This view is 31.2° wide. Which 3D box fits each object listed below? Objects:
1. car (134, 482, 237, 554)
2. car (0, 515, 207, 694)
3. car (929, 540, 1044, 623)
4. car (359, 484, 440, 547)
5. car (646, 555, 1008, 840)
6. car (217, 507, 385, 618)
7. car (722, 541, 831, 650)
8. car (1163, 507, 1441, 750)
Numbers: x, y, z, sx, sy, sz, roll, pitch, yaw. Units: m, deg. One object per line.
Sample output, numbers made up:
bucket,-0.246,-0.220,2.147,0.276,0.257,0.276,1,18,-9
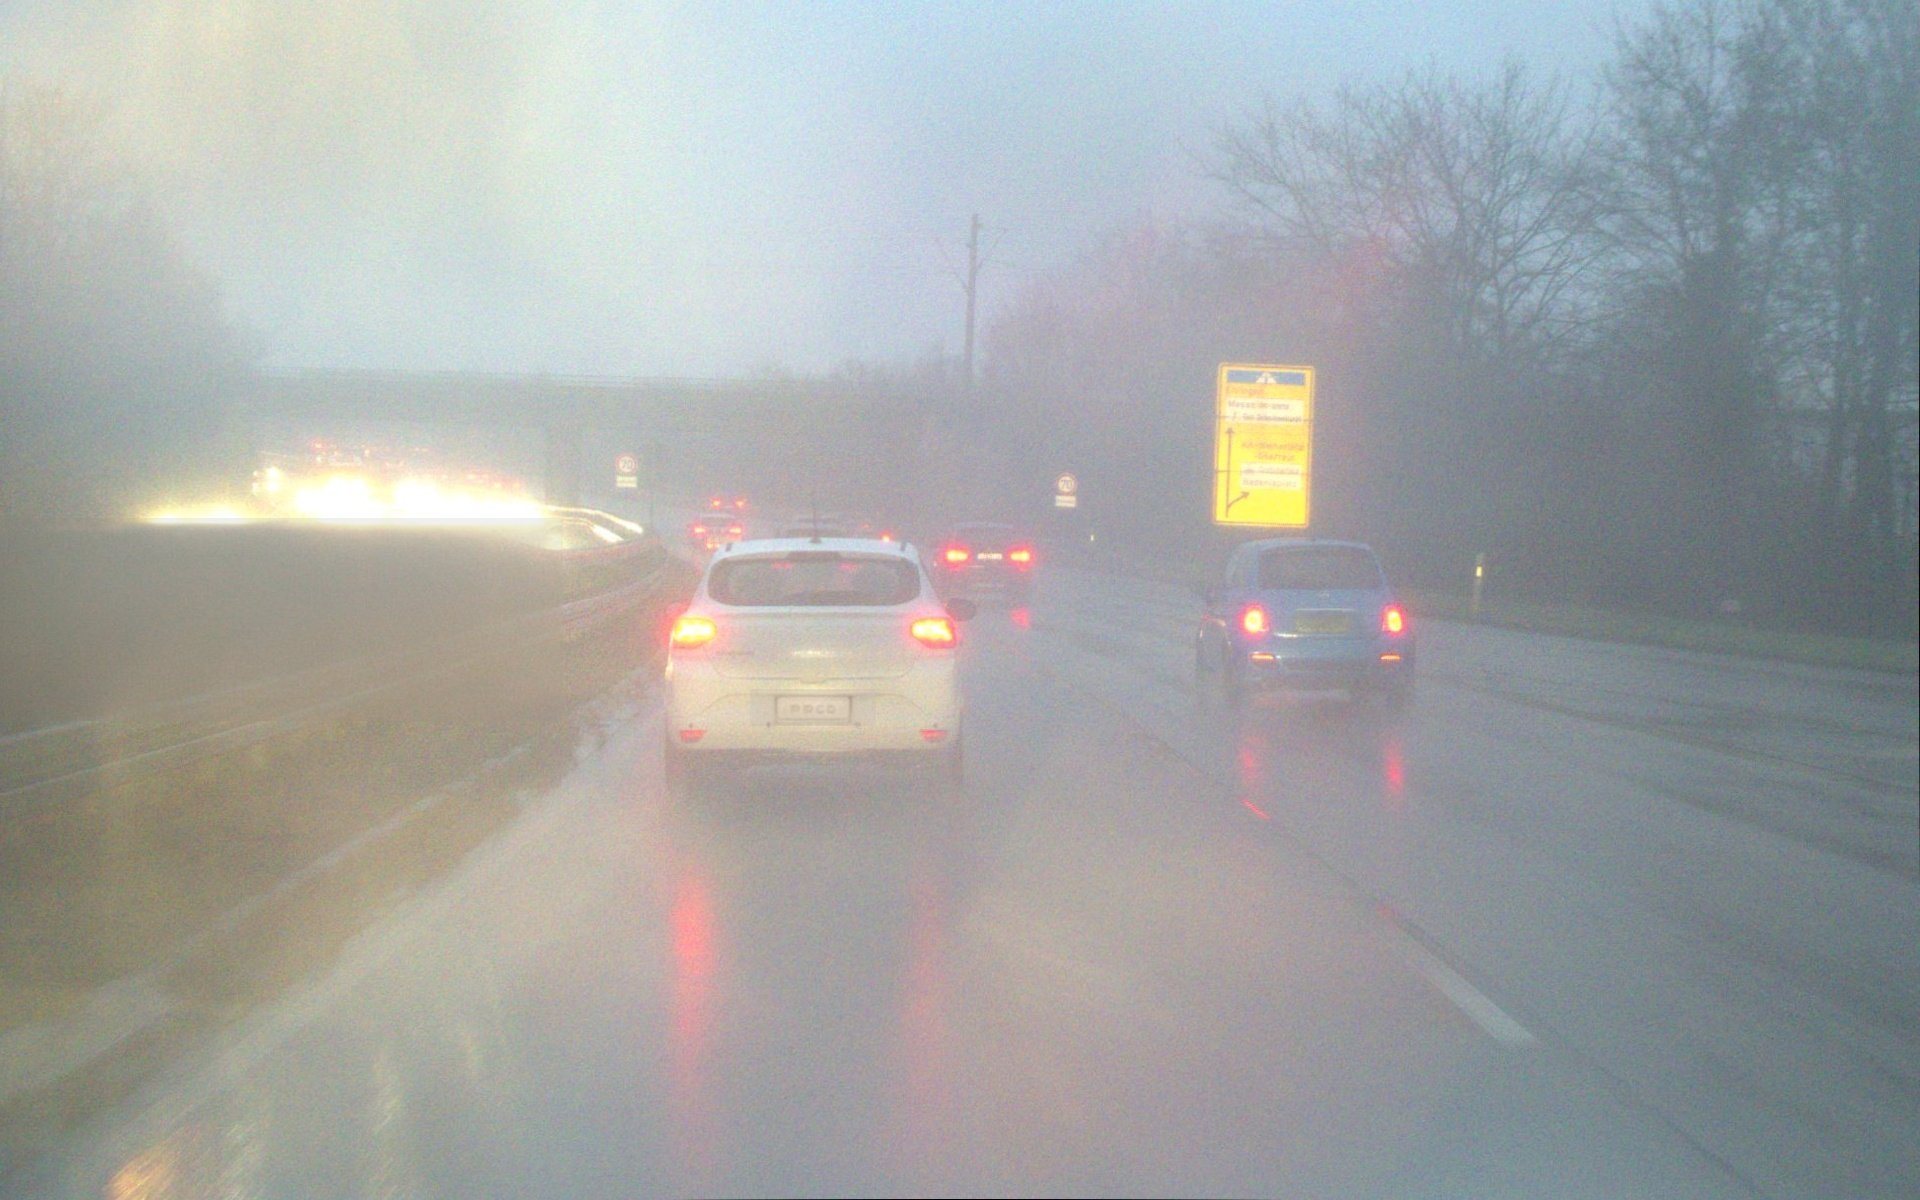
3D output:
car,-20.742,-2.168,92.232,1.880,1.826,4.788,2,1,-3
car,-8.085,0.007,31.433,1.653,1.514,3.505,2,1,-1
car,0.511,-0.365,71.439,1.932,1.541,3.774,-4,0,-5
car,-17.192,-2.568,105.645,1.883,1.826,4.788,2,1,-3
car,-0.757,0.532,21.680,2.025,1.569,4.000,2,1,0
car,-9.640,-0.563,50.580,1.783,1.504,4.135,2,1,-2
car,-3.551,-0.114,66.625,1.993,2.007,4.001,2,1,-3
car,3.029,0.213,31.195,1.932,2.012,3.774,2,1,-2
